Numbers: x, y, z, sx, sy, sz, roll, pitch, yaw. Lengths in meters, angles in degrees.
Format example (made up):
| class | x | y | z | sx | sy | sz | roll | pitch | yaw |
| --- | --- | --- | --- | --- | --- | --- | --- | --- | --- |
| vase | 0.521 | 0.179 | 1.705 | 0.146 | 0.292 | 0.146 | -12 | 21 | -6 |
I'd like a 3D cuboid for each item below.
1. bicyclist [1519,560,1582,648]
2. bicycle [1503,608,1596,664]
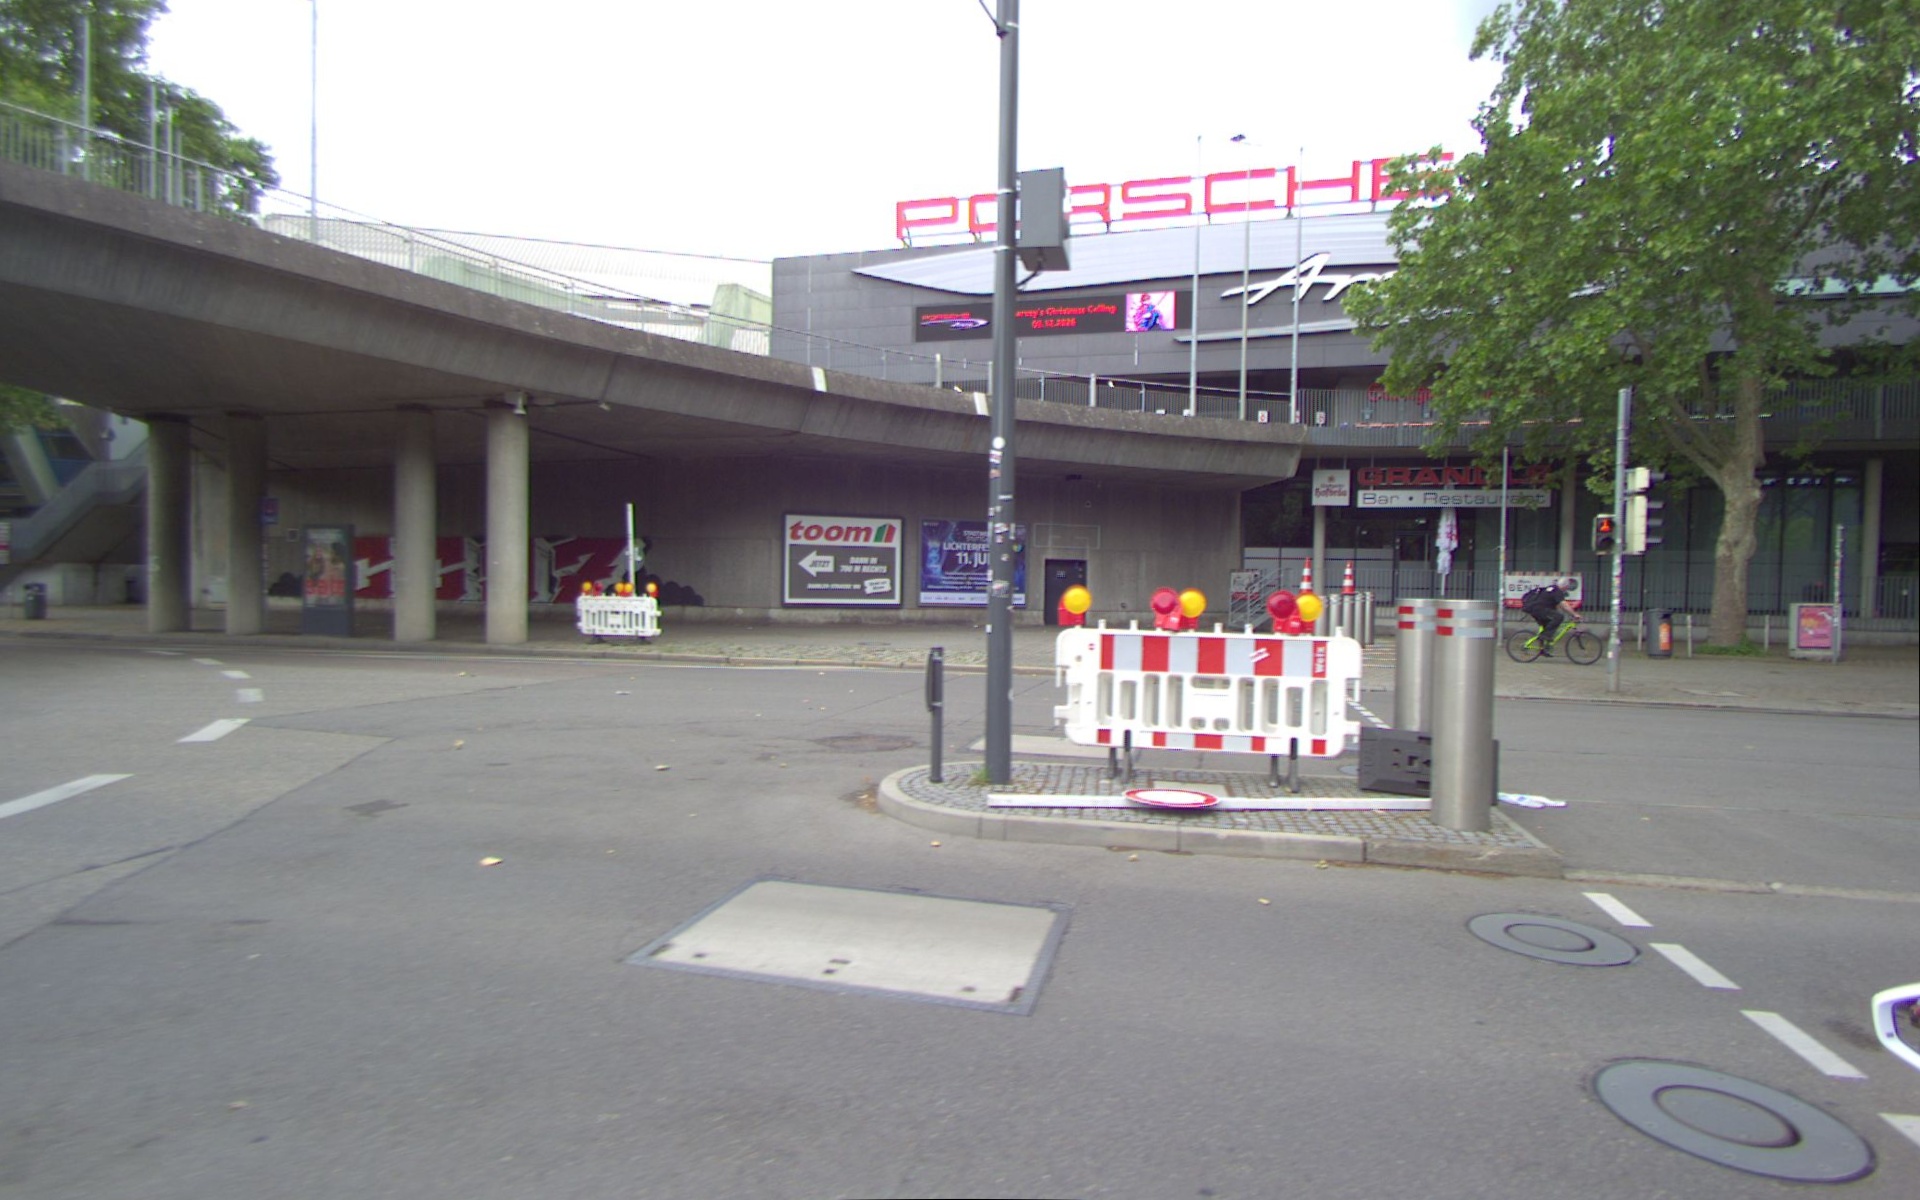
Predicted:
| class | x | y | z | sx | sy | sz | roll | pitch | yaw |
| --- | --- | --- | --- | --- | --- | --- | --- | --- | --- |
| bicyclist | 12.022 | 0.072 | 20.471 | 0.837 | 1.720 | 0.767 | 3 | 1 | 14 |
| bicycle | 11.992 | 0.723 | 20.476 | 1.507 | 1.026 | 0.517 | 3 | 1 | 14 |
